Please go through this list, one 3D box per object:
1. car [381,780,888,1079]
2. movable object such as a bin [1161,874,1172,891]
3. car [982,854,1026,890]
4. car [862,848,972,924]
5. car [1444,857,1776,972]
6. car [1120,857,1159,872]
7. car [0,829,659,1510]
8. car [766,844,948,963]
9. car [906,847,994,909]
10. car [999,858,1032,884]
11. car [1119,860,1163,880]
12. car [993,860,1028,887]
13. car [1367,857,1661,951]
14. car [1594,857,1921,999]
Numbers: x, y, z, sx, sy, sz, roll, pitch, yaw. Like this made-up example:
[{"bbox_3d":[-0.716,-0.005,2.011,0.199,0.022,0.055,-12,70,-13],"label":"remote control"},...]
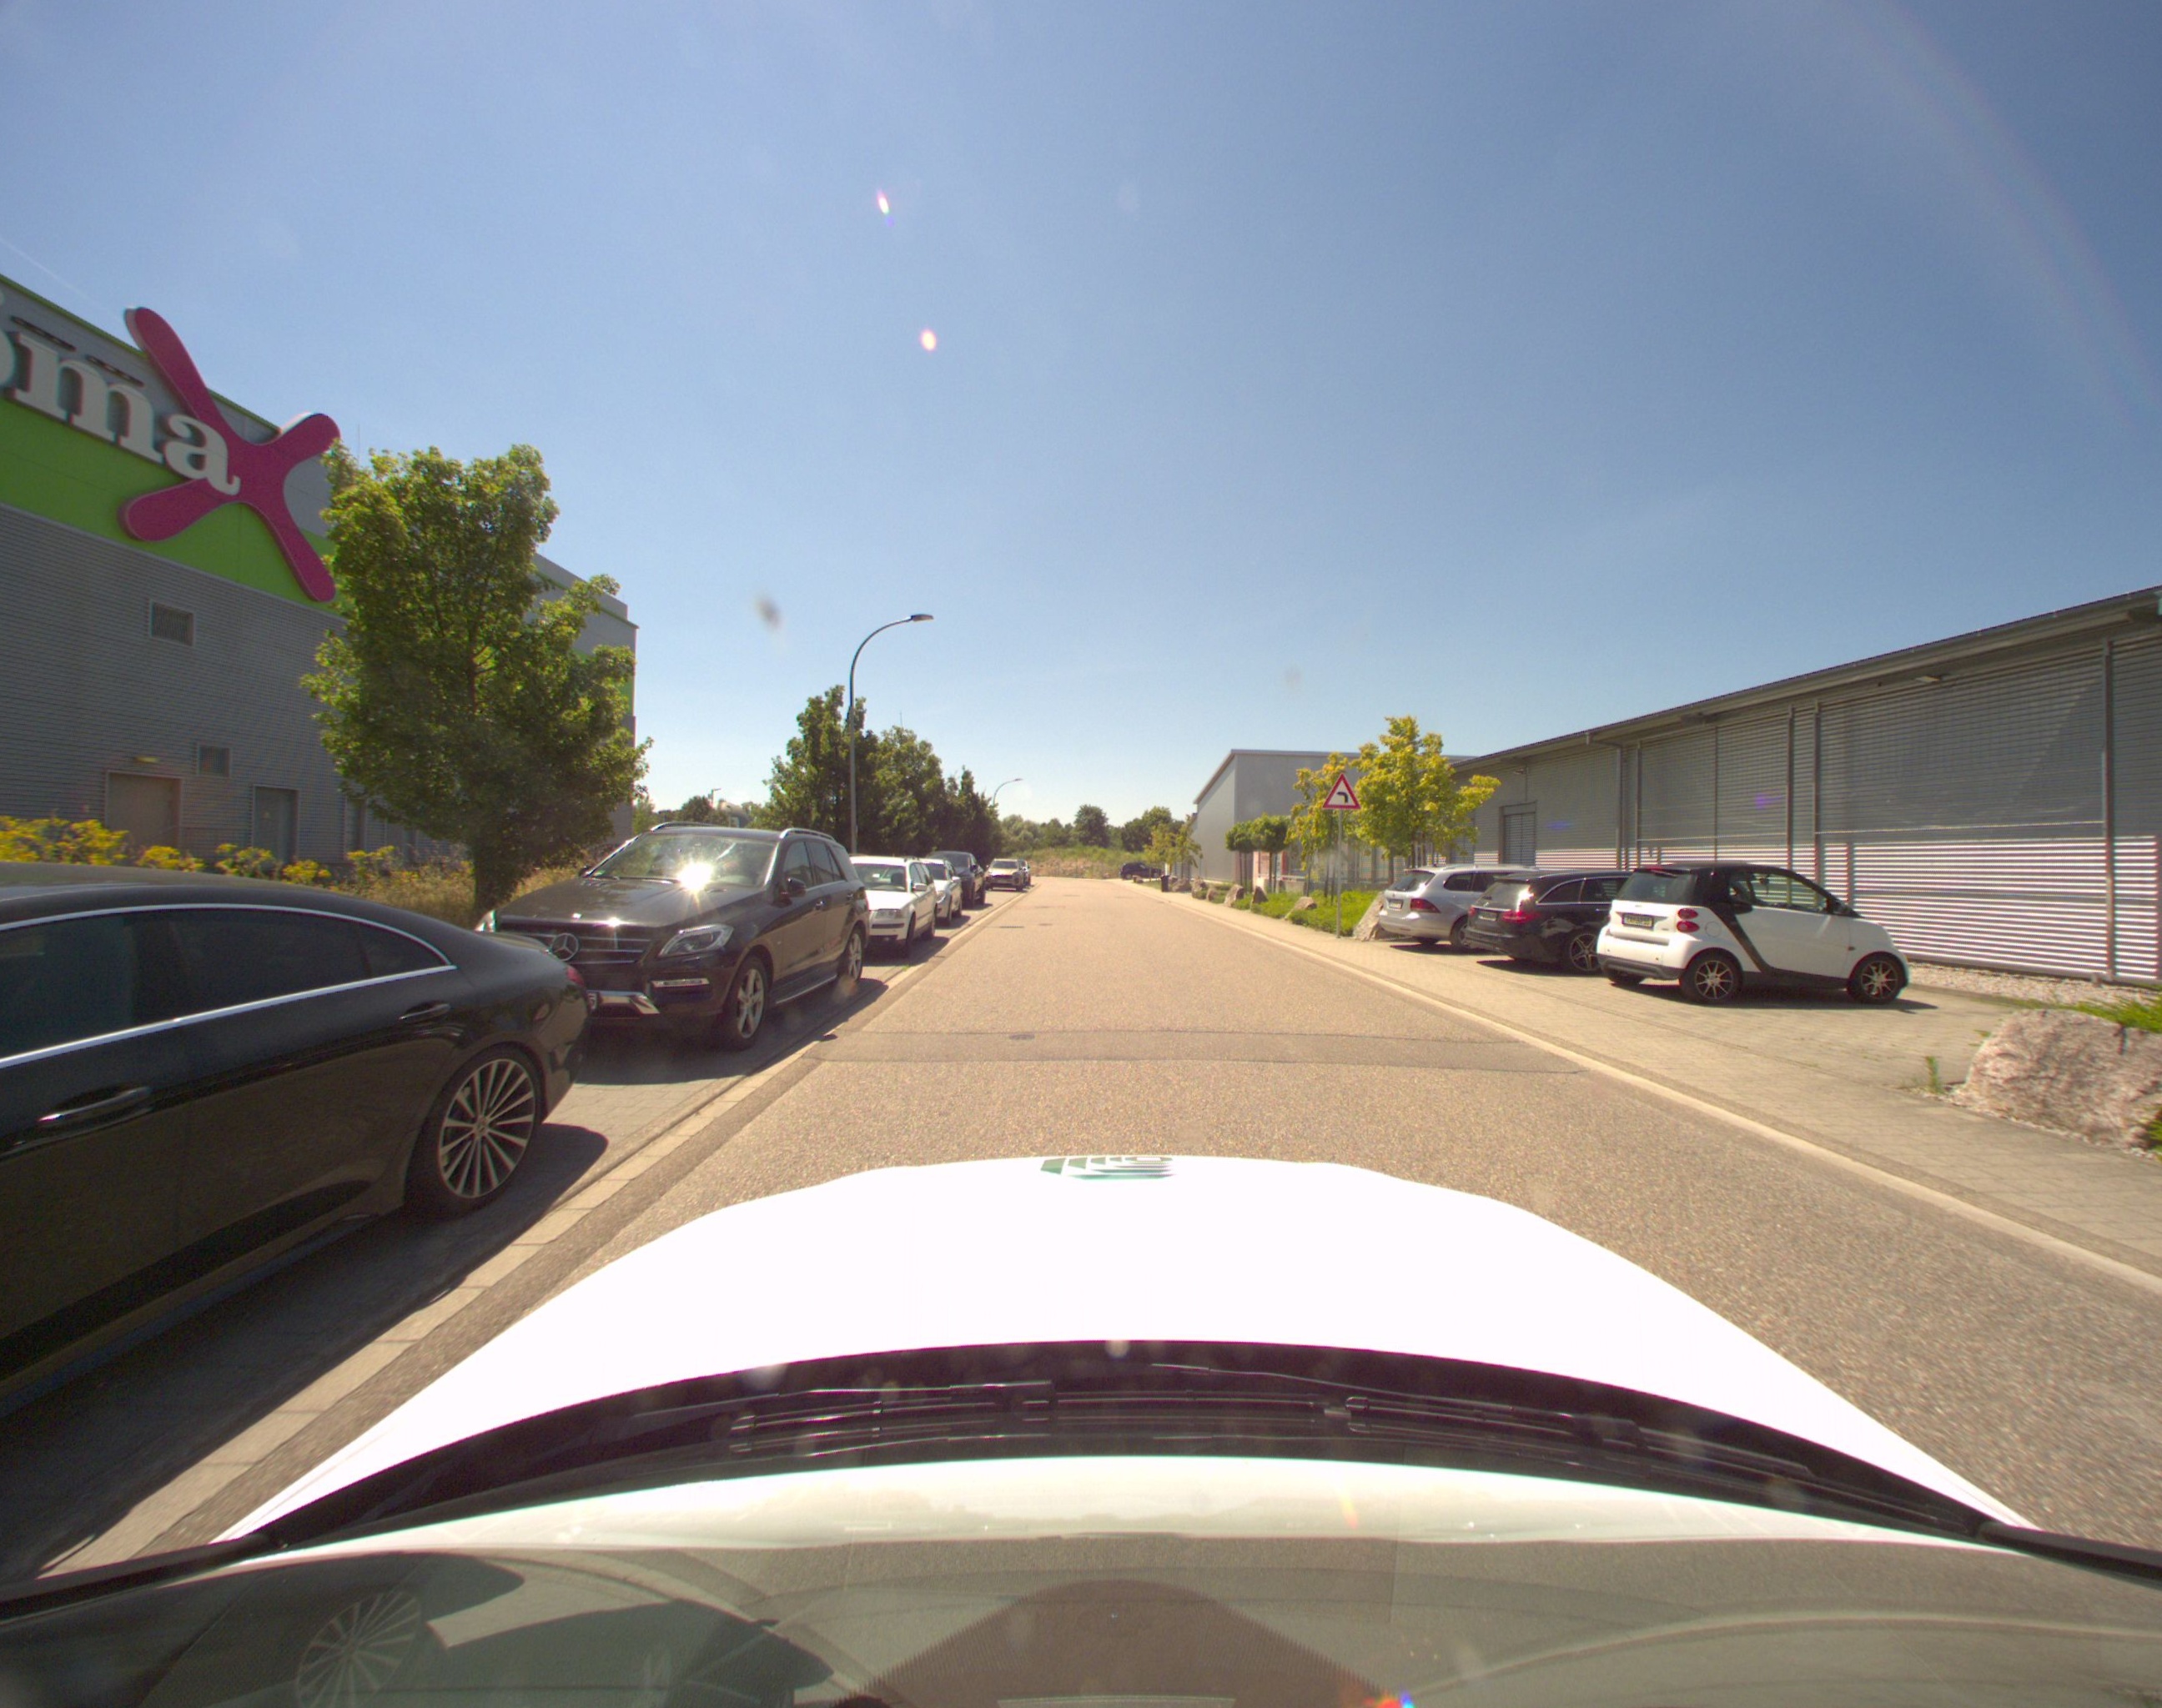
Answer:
[{"bbox_3d":[-3.328,0.485,7.504,1.846,1.758,4.985,3,0,0],"label":"car"},{"bbox_3d":[4.719,1.570,45.084,0.557,0.946,0.539,0,-1,-3],"label":"movable object such as a bin"},{"bbox_3d":[-3.951,0.904,42.526,1.907,1.713,4.410,3,0,-2],"label":"car"},{"bbox_3d":[-3.773,0.686,19.665,1.848,1.519,5.159,3,0,-4],"label":"car"},{"bbox_3d":[7.596,0.829,11.987,3.680,1.541,1.913,0,-1,0],"label":"car"},{"bbox_3d":[6.213,1.112,86.636,4.000,1.462,1.891,-1,-1,-3],"label":"car"},{"bbox_3d":[-3.240,0.661,2.080,1.846,1.443,4.751,3,0,-1],"label":"car"},{"bbox_3d":[-3.387,0.681,13.339,1.848,1.519,4.898,3,0,-4],"label":"car"},{"bbox_3d":[-4.071,0.705,26.163,1.986,1.713,5.004,3,0,-1],"label":"car"},{"bbox_3d":[-4.376,1.094,54.700,1.907,1.655,4.751,1,0,-1],"label":"car"},{"bbox_3d":[5.852,1.549,79.935,4.000,1.655,1.856,-3,-1,-2],"label":"car"},{"bbox_3d":[-4.236,1.158,49.399,1.908,1.492,4.407,3,0,-3],"label":"car"},{"bbox_3d":[7.576,0.841,14.560,4.265,1.541,1.913,0,-1,0],"label":"car"},{"bbox_3d":[7.814,0.813,9.579,2.697,1.541,1.412,0,-1,0],"label":"car"}]
